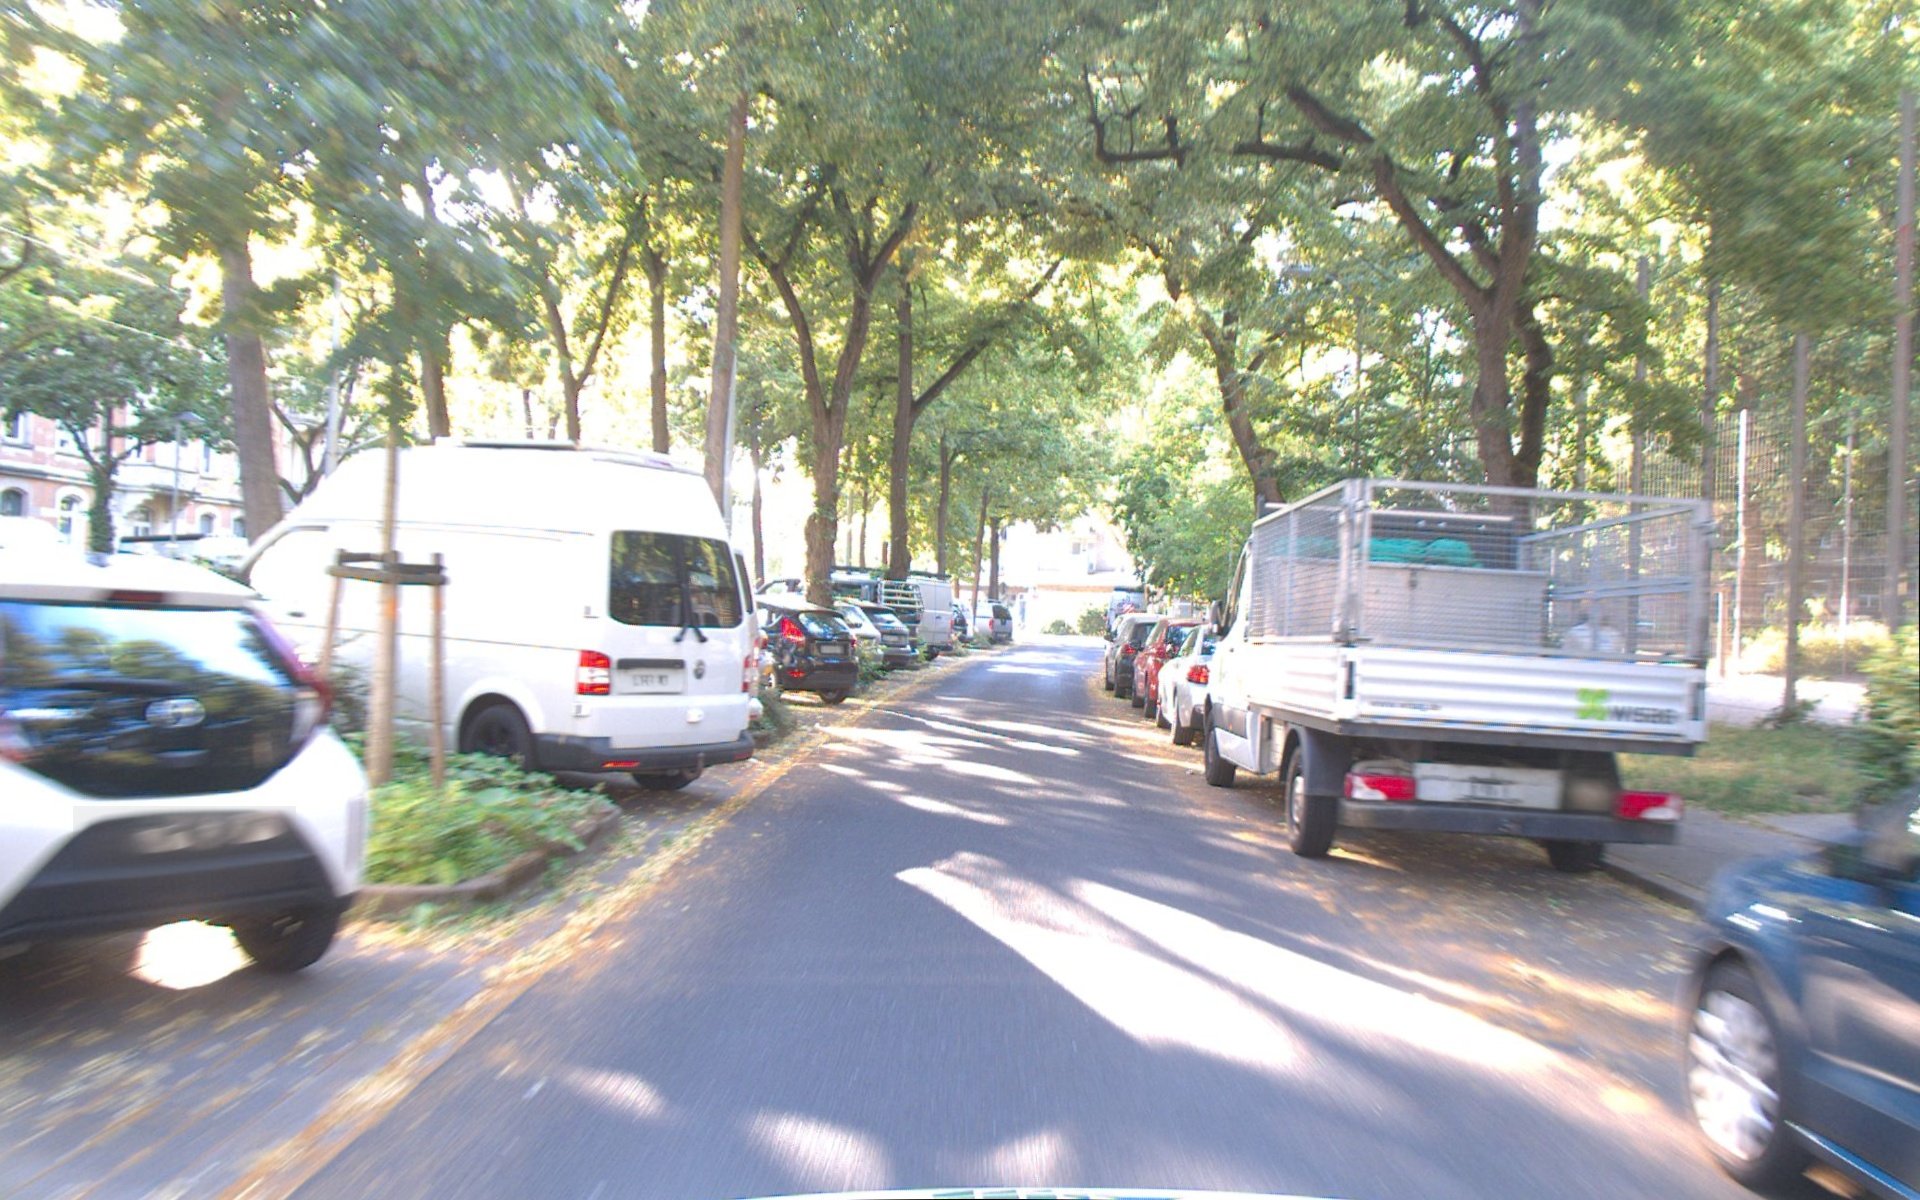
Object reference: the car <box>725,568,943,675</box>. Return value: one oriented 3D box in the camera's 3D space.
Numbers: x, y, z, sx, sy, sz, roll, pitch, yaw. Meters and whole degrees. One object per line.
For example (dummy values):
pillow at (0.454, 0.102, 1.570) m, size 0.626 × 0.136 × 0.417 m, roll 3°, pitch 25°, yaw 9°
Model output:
car at (-2.854, 0.455, 36.942) m, size 4.622 × 1.976 × 1.926 m, roll 4°, pitch -1°, yaw 37°

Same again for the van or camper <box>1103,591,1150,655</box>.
van or camper at (7.728, 1.084, 77.240) m, size 2.040 × 2.811 × 5.848 m, roll 2°, pitch -1°, yaw 5°

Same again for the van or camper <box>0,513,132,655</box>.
van or camper at (-18.528, -0.294, 31.555) m, size 5.550 × 2.512 × 1.997 m, roll 0°, pitch -1°, yaw 28°

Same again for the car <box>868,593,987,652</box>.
car at (-1.224, 0.818, 61.372) m, size 4.085 × 1.812 × 1.874 m, roll 4°, pitch -1°, yaw 40°

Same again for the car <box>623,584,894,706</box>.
car at (-3.045, 0.661, 24.703) m, size 3.752 × 1.464 × 1.817 m, roll 4°, pitch -1°, yaw 38°

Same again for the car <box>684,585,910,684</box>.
car at (-3.130, 0.641, 31.442) m, size 4.012 × 1.514 × 1.778 m, roll 4°, pitch -1°, yaw 35°

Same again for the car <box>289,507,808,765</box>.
car at (-4.048, 0.283, 16.023) m, size 4.784 × 2.012 × 2.039 m, roll 4°, pitch -1°, yaw 32°

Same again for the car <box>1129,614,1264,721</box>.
car at (3.586, 0.990, 25.661) m, size 1.637 × 1.479 × 3.950 m, roll 2°, pitch -1°, yaw 2°

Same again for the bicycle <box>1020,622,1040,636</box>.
bicycle at (4.851, 2.019, 114.945) m, size 0.537 × 0.920 × 1.718 m, roll 2°, pitch -1°, yaw -30°

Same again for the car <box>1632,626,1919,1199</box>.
car at (2.983, 0.835, 3.372) m, size 1.638 × 1.484 × 3.893 m, roll 2°, pitch -1°, yaw 0°

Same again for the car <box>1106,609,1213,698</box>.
car at (3.633, 0.957, 30.670) m, size 1.637 × 1.479 × 3.950 m, roll 2°, pitch -1°, yaw 2°

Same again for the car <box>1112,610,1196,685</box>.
car at (4.170, 1.004, 35.940) m, size 1.557 × 1.479 × 3.556 m, roll 2°, pitch -1°, yaw 3°

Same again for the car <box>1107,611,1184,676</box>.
car at (4.570, 1.049, 41.162) m, size 1.645 × 1.479 × 4.077 m, roll 2°, pitch -1°, yaw 3°

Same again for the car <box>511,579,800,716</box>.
car at (-4.154, 0.630, 22.469) m, size 3.477 × 1.519 × 1.820 m, roll 4°, pitch -1°, yaw 33°

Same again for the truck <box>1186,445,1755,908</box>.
truck at (3.247, 0.453, 12.456) m, size 2.248 × 2.428 × 6.935 m, roll 2°, pitch -1°, yaw 1°

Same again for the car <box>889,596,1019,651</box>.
car at (-0.275, 0.941, 67.202) m, size 4.898 × 1.812 × 1.982 m, roll 5°, pitch -1°, yaw 32°

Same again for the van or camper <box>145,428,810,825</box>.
van or camper at (-3.779, 0.092, 12.738) m, size 4.782 × 2.513 × 2.041 m, roll 4°, pitch -1°, yaw 30°

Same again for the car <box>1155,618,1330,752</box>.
car at (3.397, 0.972, 20.575) m, size 1.637 × 1.422 × 4.300 m, roll 2°, pitch -1°, yaw 3°

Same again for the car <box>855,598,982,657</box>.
car at (-1.485, 0.959, 58.154) m, size 4.079 × 1.672 × 1.907 m, roll 4°, pitch -1°, yaw 36°

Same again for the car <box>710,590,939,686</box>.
car at (-2.842, 0.775, 34.168) m, size 4.483 × 1.567 × 1.926 m, roll 4°, pitch -1°, yaw 37°

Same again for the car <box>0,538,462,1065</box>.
car at (-3.851, 0.516, 6.326) m, size 3.477 × 1.519 × 1.820 m, roll 4°, pitch -1°, yaw 33°

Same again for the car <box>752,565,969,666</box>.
car at (-2.647, 0.386, 43.271) m, size 5.402 × 2.174 × 2.074 m, roll 4°, pitch -1°, yaw 34°

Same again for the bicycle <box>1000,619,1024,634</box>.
bicycle at (3.657, 1.856, 116.846) m, size 0.632 × 1.040 × 2.065 m, roll 2°, pitch -1°, yaw -32°

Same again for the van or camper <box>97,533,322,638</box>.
van or camper at (-18.313, -0.331, 40.272) m, size 5.432 × 2.412 × 2.302 m, roll 0°, pitch -1°, yaw 31°
